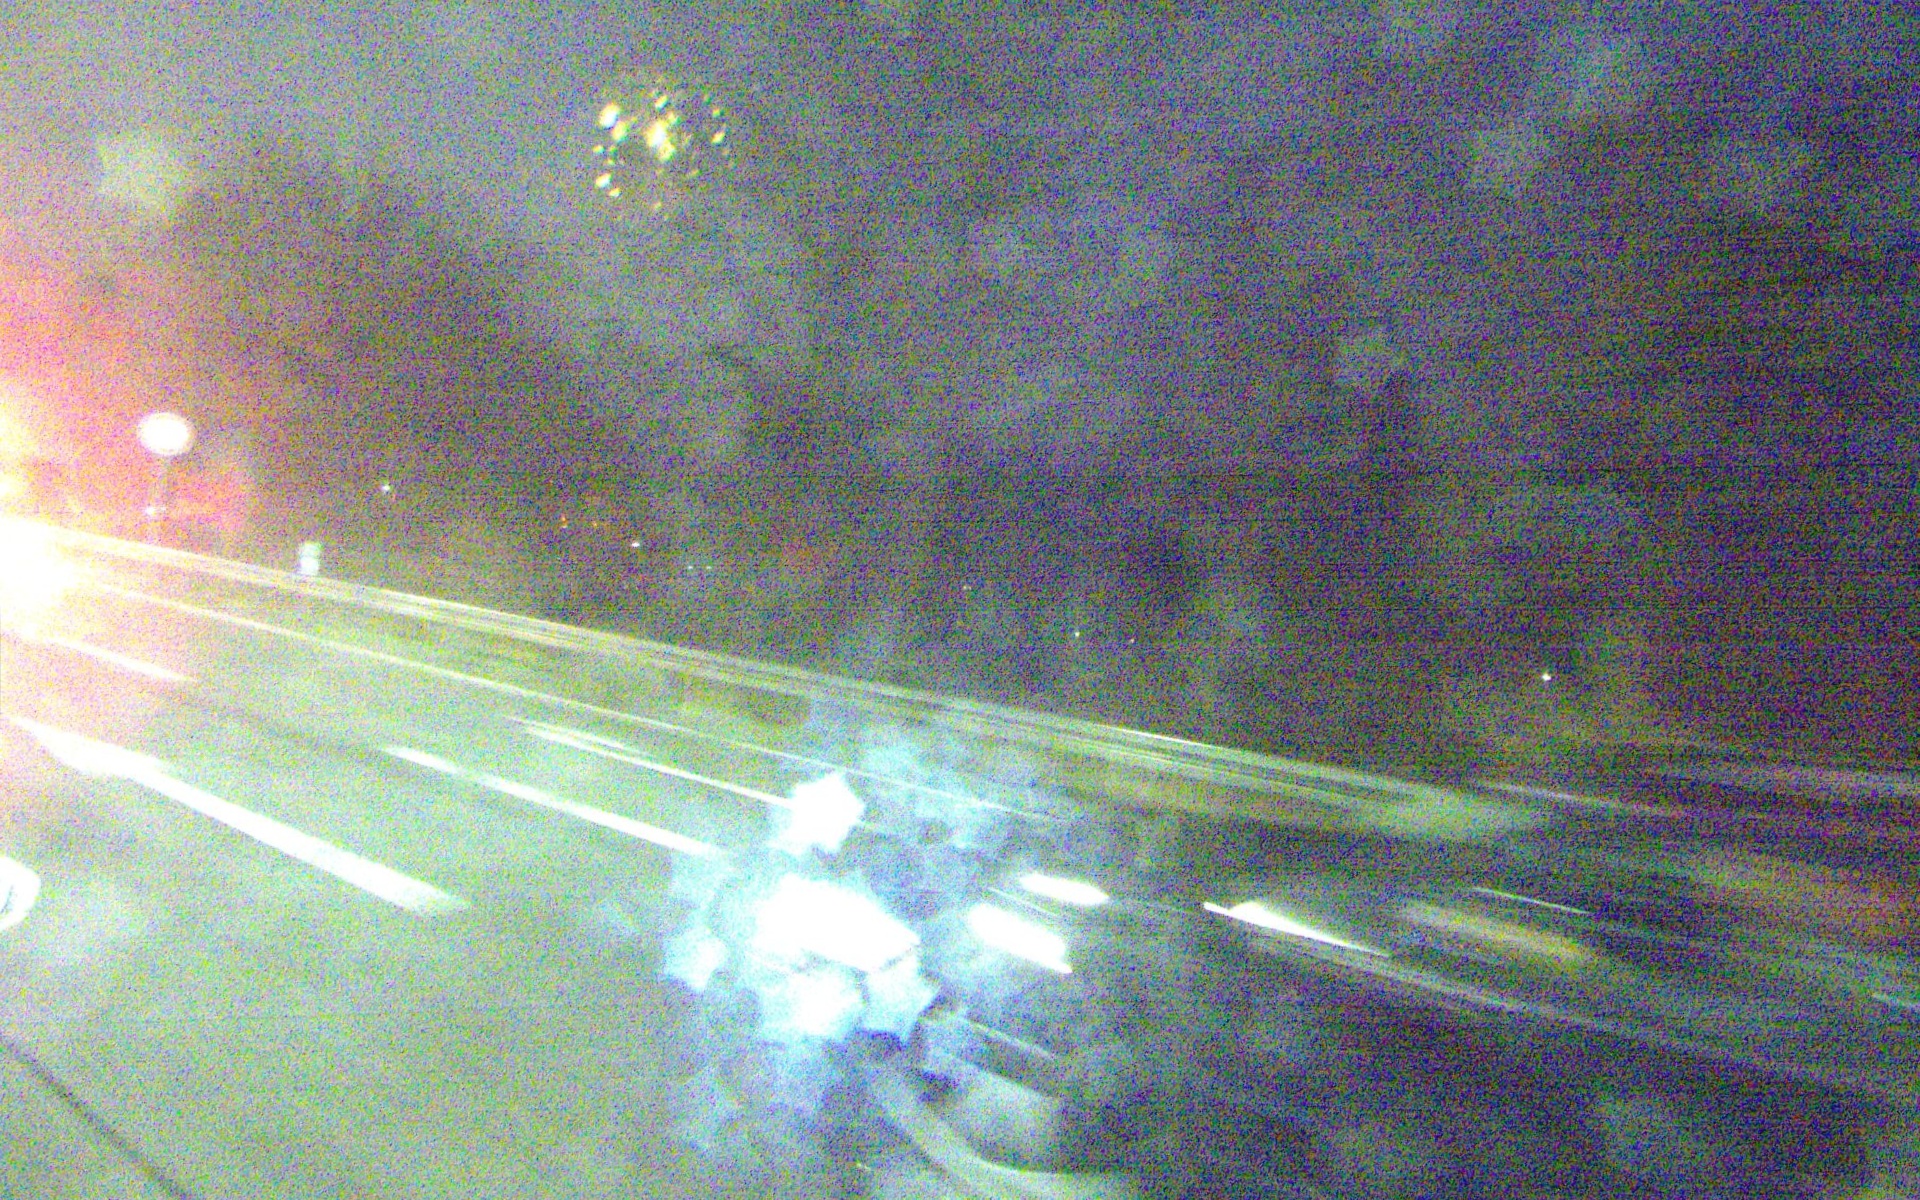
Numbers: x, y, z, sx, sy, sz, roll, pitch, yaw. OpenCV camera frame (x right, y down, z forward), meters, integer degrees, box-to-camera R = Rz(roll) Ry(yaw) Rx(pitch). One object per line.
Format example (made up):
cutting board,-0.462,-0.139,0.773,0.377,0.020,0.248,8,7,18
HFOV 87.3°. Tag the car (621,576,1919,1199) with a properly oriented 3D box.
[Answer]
car,1.665,0.996,2.155,4.643,1.466,1.736,7,-1,29
